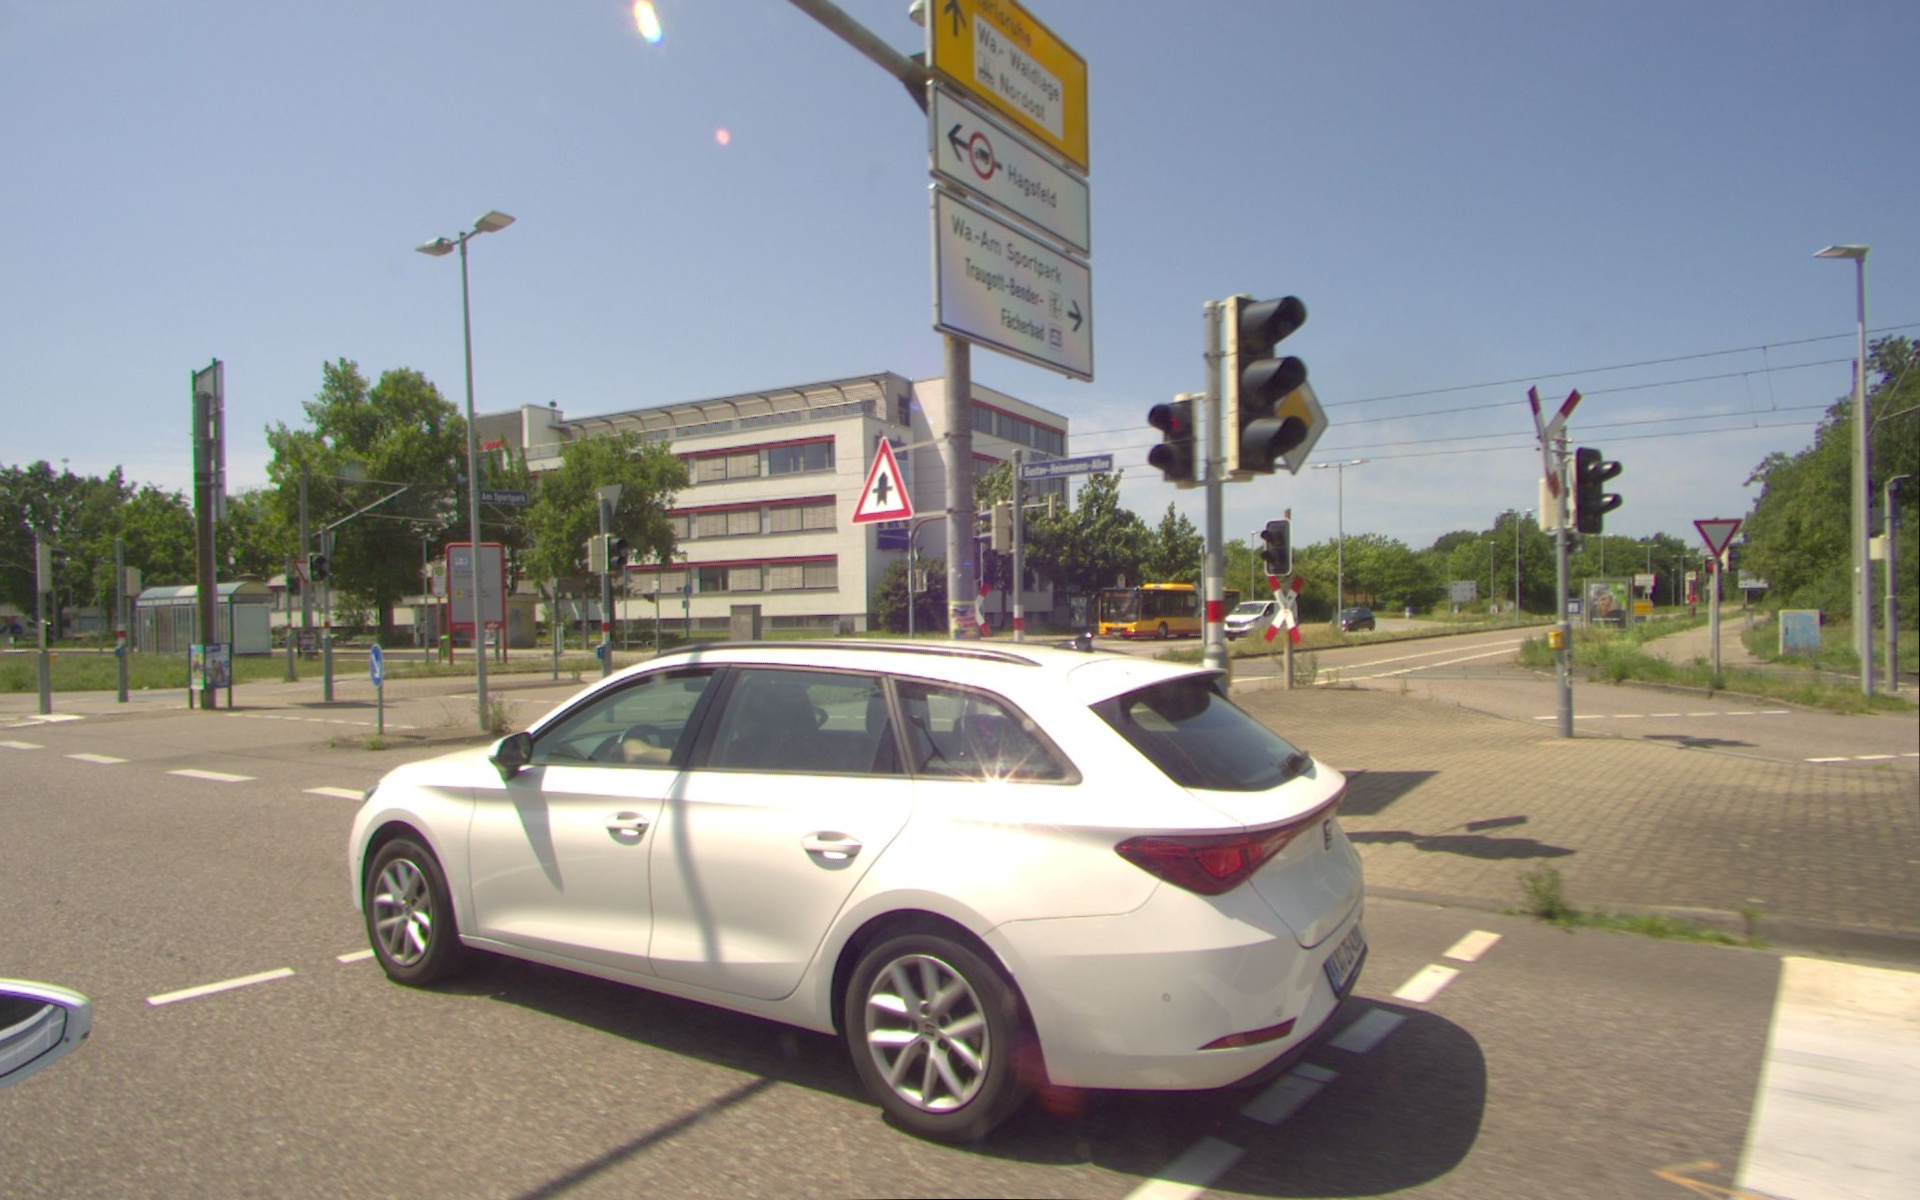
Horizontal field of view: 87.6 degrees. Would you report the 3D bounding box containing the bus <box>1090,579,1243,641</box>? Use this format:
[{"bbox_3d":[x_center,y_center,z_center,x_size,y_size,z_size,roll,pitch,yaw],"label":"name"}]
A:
[{"bbox_3d":[12.012,0.635,56.920,2.809,3.159,11.977,-2,-2,42],"label":"bus"}]

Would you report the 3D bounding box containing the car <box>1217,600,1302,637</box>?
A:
[{"bbox_3d":[15.263,0.981,50.851,5.021,1.750,1.812,2,-3,-43],"label":"car"}]

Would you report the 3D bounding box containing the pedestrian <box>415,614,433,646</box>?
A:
[{"bbox_3d":[-27.854,1.577,52.049,0.681,1.628,0.551,-2,-2,34],"label":"pedestrian"}]

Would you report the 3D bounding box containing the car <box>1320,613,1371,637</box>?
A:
[{"bbox_3d":[25.888,1.658,67.177,3.960,1.600,1.658,1,-1,-43],"label":"car"}]

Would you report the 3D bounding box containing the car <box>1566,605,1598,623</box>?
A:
[{"bbox_3d":[62.021,1.385,99.836,1.979,1.813,3.964,-1,-1,43],"label":"car"}]

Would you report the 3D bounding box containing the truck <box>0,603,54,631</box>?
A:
[{"bbox_3d":[-101.255,1.860,107.185,2.283,2.881,5.837,-1,0,25],"label":"truck"}]

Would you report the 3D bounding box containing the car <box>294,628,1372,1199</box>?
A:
[{"bbox_3d":[-0.737,0.840,4.198,4.385,1.408,1.680,-1,-1,30],"label":"car"}]
